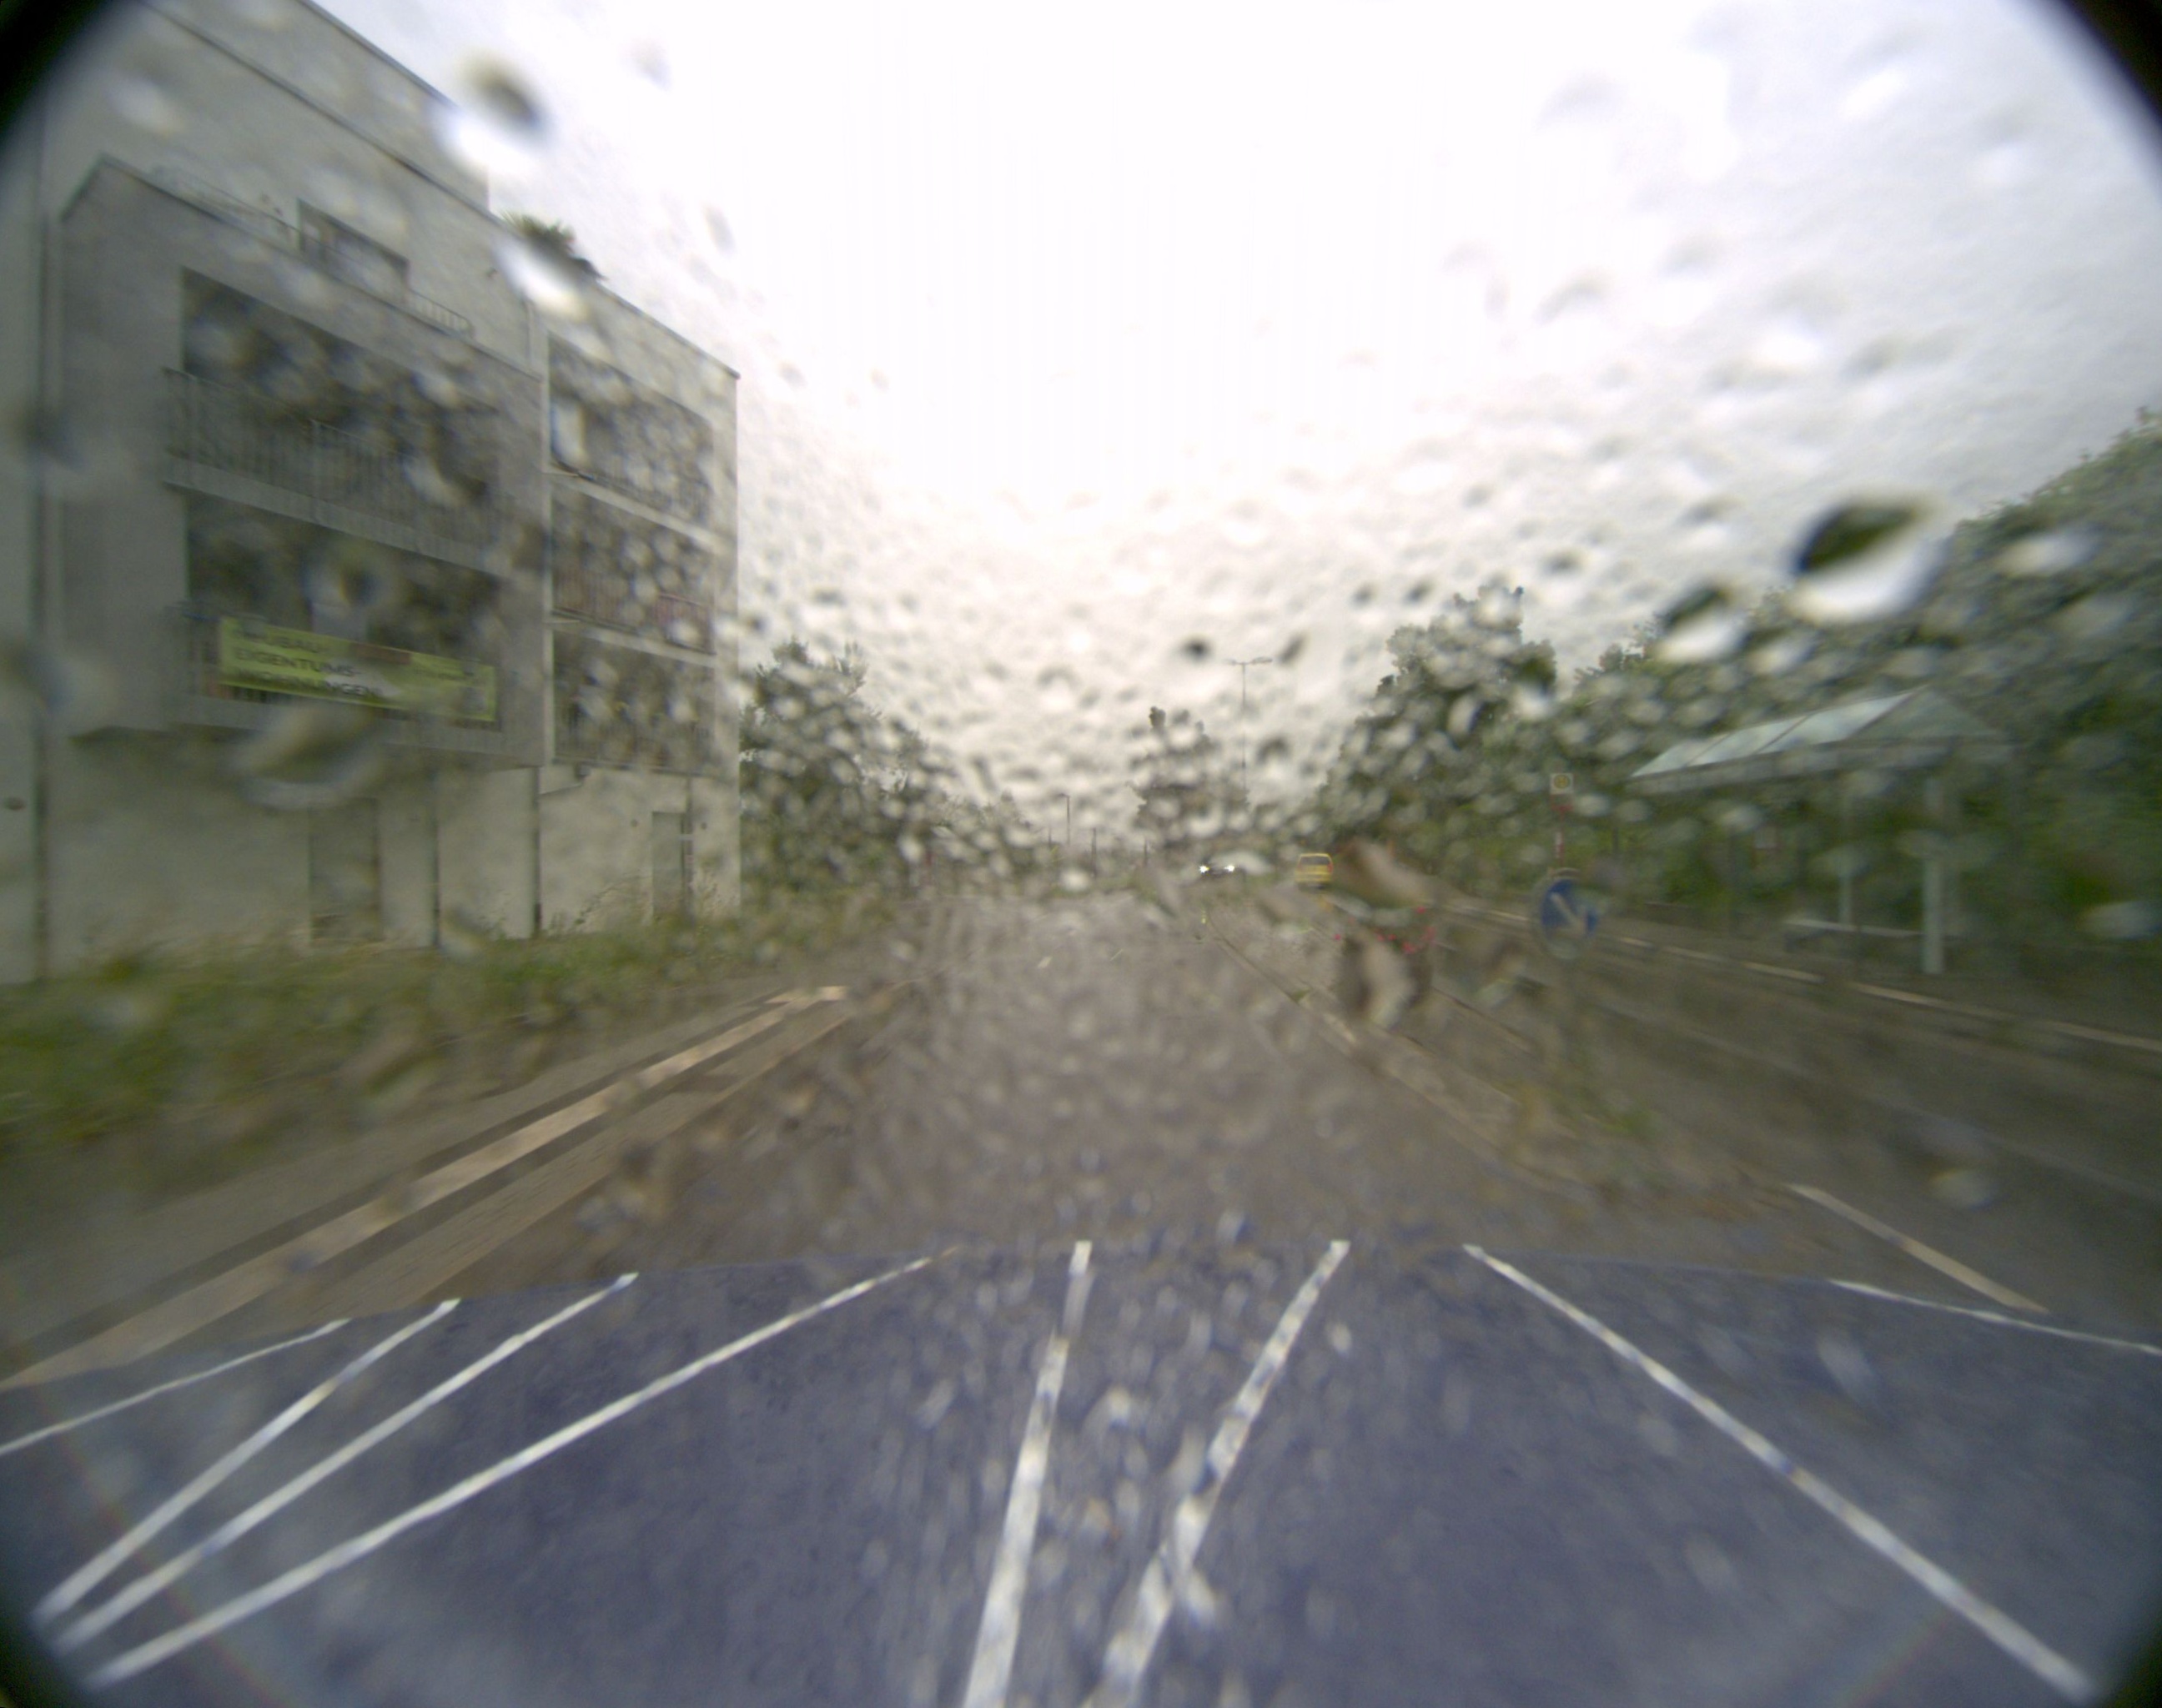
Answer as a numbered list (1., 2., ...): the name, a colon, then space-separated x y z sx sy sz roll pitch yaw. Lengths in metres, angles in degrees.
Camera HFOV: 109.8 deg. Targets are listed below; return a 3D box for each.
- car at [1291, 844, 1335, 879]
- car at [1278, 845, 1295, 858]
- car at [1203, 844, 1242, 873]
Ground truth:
1. car: 9.995 0.294 32.938 1.574 1.402 3.477 1 1 13
2. car: 23.464 -0.300 86.826 1.763 1.494 4.145 0 1 14
3. car: 7.734 0.308 41.320 1.762 1.477 3.796 0 -2 16
